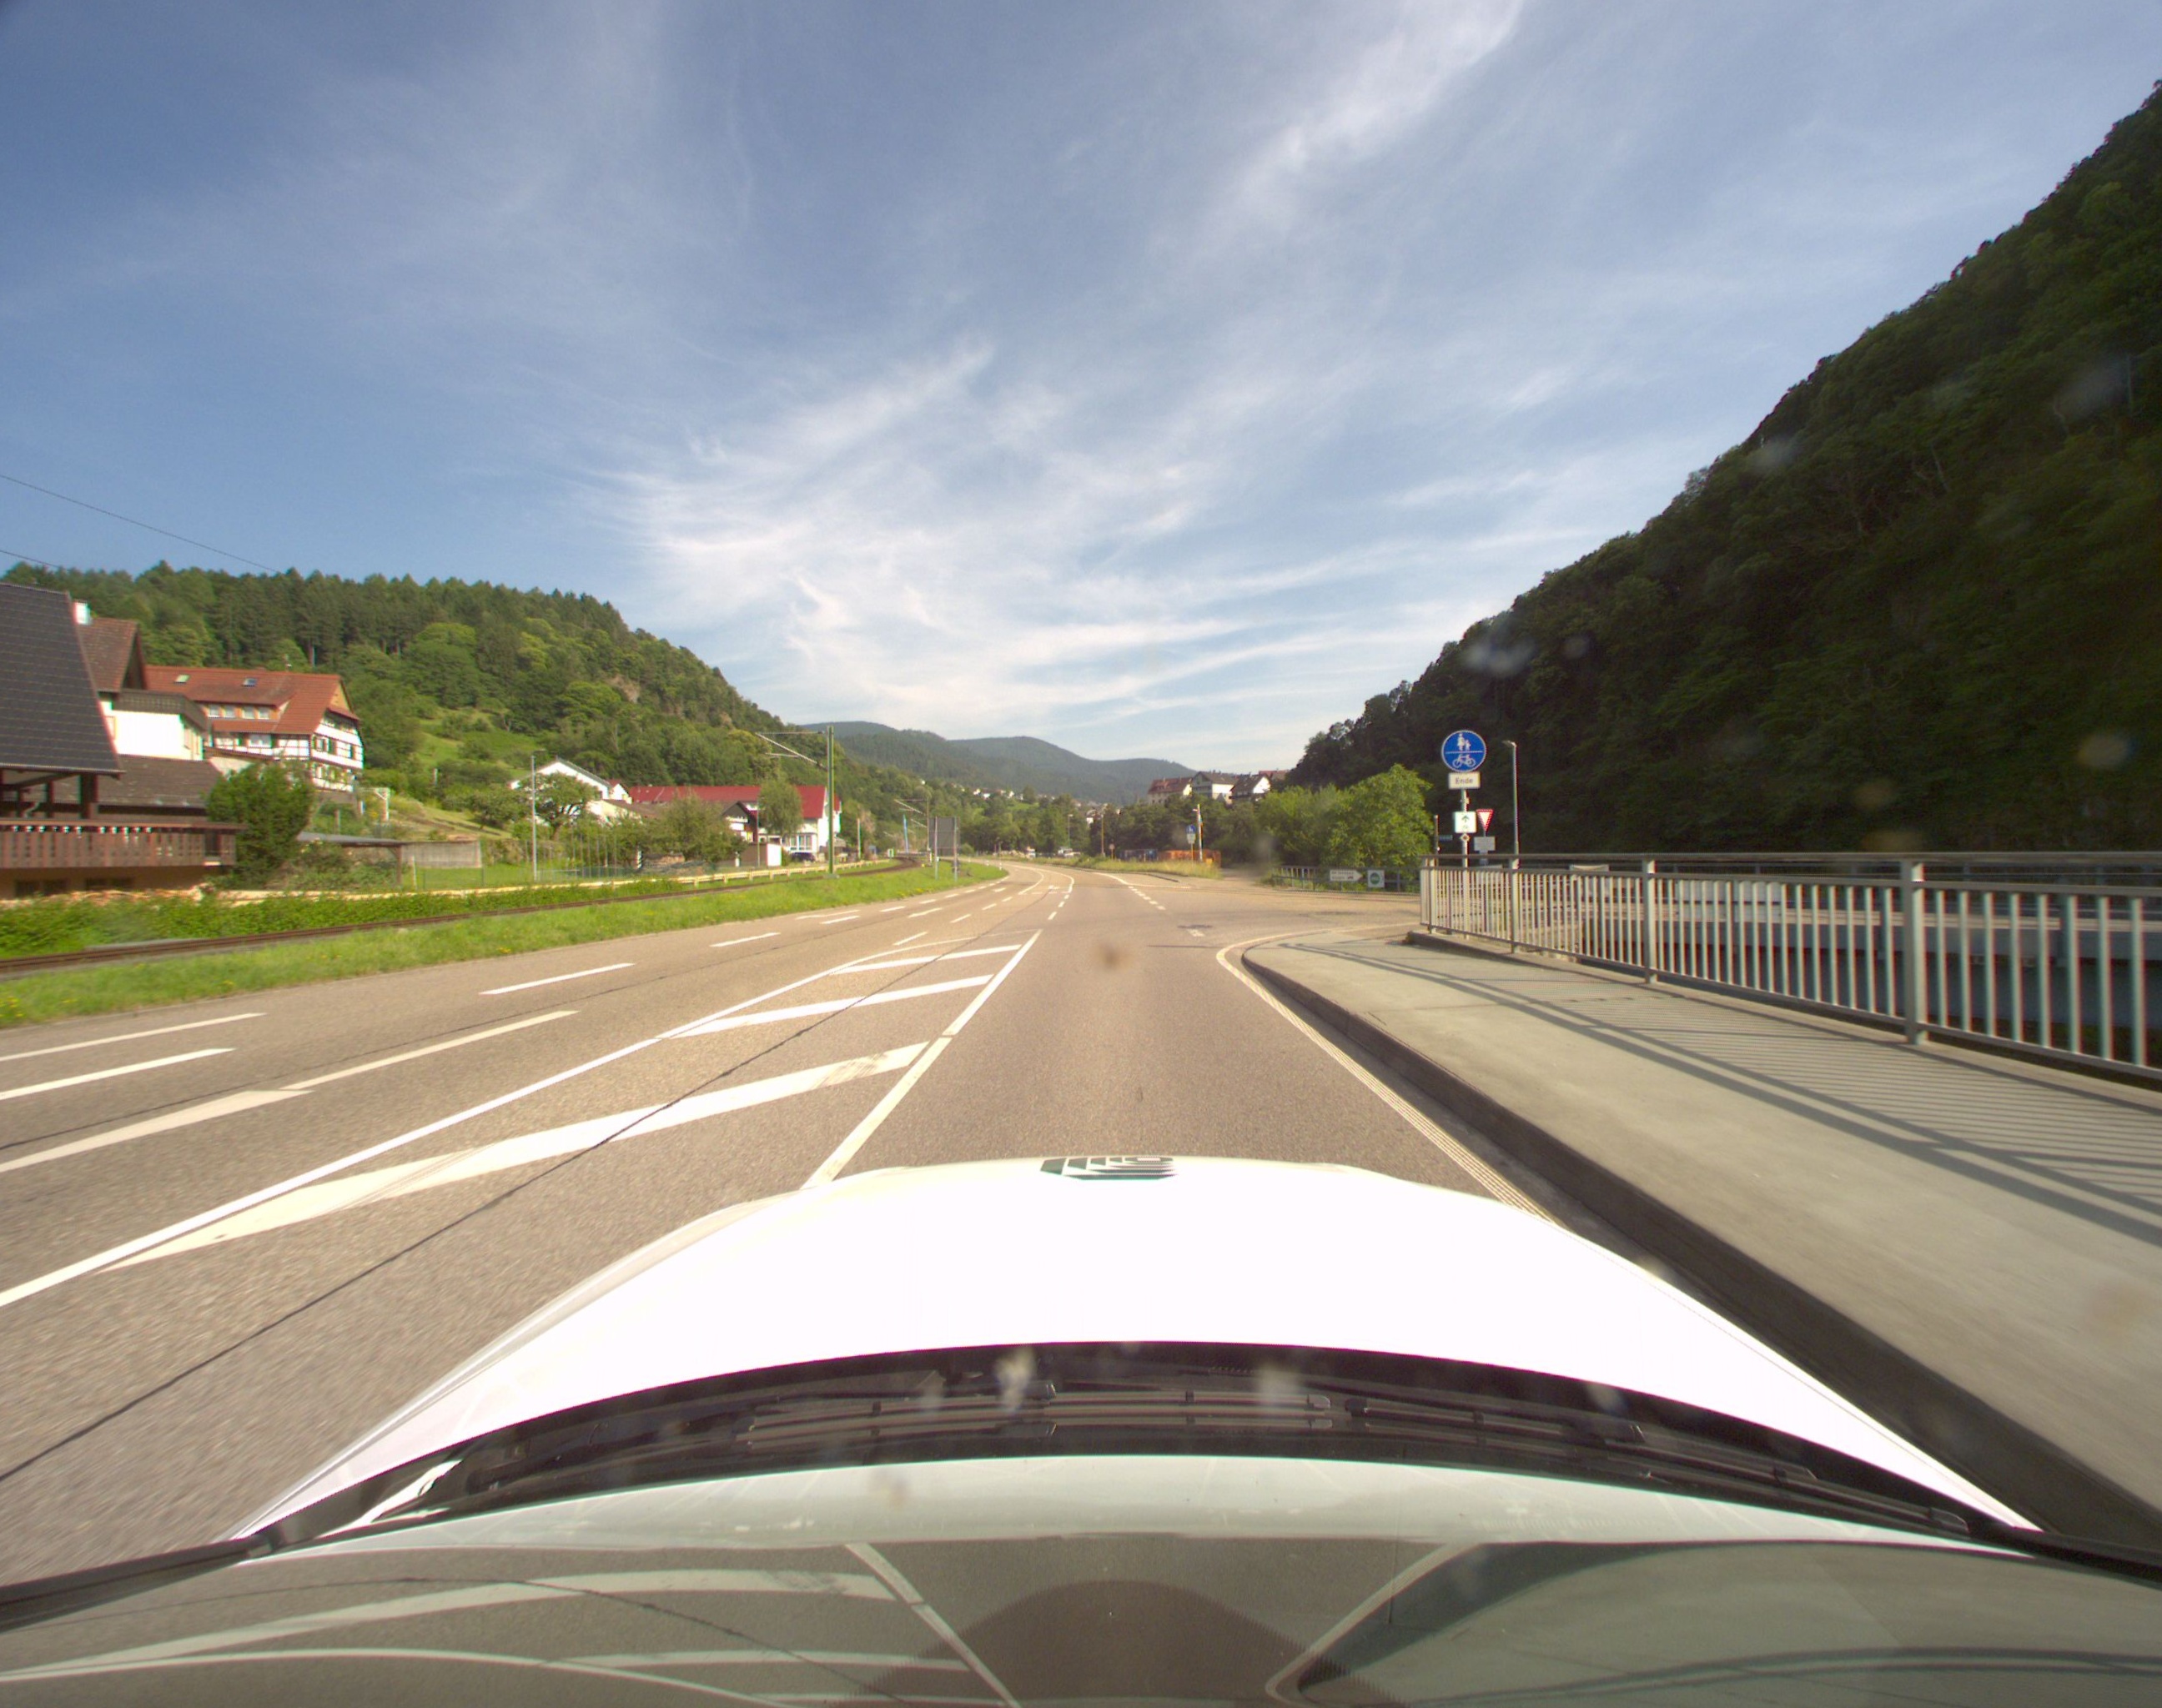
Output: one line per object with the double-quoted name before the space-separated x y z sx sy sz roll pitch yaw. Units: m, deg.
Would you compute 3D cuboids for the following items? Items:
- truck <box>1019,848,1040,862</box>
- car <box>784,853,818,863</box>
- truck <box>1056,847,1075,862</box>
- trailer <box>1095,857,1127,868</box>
"truck" -14.498 0.263 229.255 3.117 3.782 8.576 0 0 -24
"car" -38.231 0.539 111.163 4.093 1.270 1.731 -1 0 -9
"truck" -4.106 0.081 212.929 3.109 3.782 8.600 0 0 -15
"trailer" 4.192 1.220 116.112 2.791 1.474 9.856 1 0 -9
